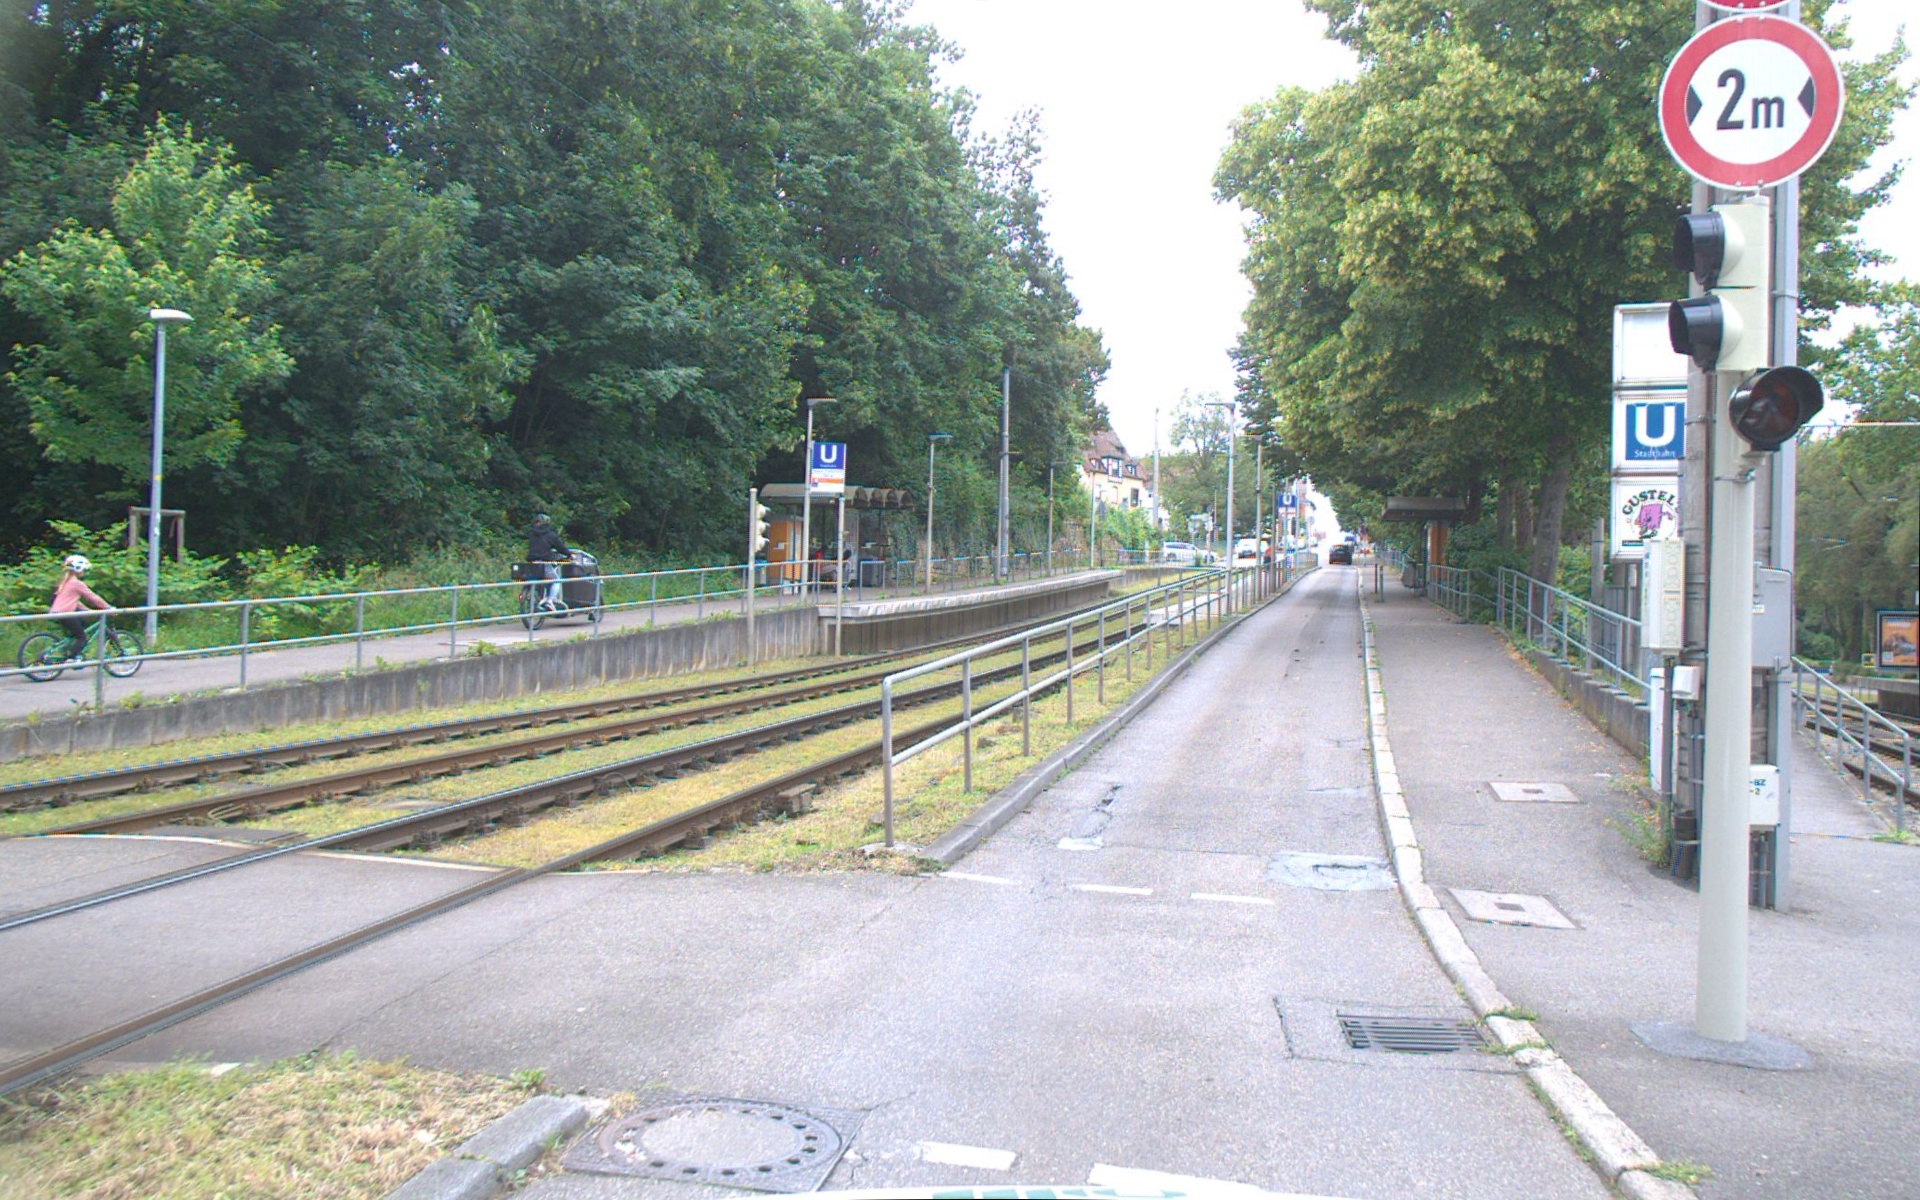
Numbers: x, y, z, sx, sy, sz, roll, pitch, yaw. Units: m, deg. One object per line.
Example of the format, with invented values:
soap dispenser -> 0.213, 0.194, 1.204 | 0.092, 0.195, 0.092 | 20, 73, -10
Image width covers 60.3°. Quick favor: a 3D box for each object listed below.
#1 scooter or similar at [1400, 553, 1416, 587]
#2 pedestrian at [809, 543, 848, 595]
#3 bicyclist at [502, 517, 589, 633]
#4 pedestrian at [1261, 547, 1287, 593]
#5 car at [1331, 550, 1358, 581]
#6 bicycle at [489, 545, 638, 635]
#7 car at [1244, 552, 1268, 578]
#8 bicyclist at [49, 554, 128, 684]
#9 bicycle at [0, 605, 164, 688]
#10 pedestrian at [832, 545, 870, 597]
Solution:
scooter or similar -> 16.266, -1.094, 60.118 | 0.335, 1.177, 1.147 | 4, -1, 8
pedestrian -> -3.533, -0.830, 44.448 | 0.755, 1.349, 0.788 | 4, 2, 14
bicyclist -> -6.539, -0.412, 26.156 | 0.718, 1.740, 1.293 | 4, 3, 16
pedestrian -> 10.419, -1.000, 54.917 | 0.726, 1.433, 0.747 | 4, 3, 13
car -> 31.468, -2.799, 135.309 | 1.952, 2.183, 4.003 | 4, -1, 13
bicycle -> -6.358, -0.210, 26.790 | 0.718, 1.311, 3.349 | 4, 3, 16
car -> 29.053, -3.436, 162.444 | 1.952, 2.183, 4.003 | 4, -1, 13
bicyclist -> -9.252, 0.184, 17.563 | 0.445, 1.323, 0.580 | 5, 4, 30
bicycle -> -9.291, 0.473, 17.530 | 0.445, 0.751, 1.556 | 5, 4, 29
pedestrian -> -3.013, -0.805, 45.580 | 0.755, 1.349, 0.787 | 4, -1, 14
